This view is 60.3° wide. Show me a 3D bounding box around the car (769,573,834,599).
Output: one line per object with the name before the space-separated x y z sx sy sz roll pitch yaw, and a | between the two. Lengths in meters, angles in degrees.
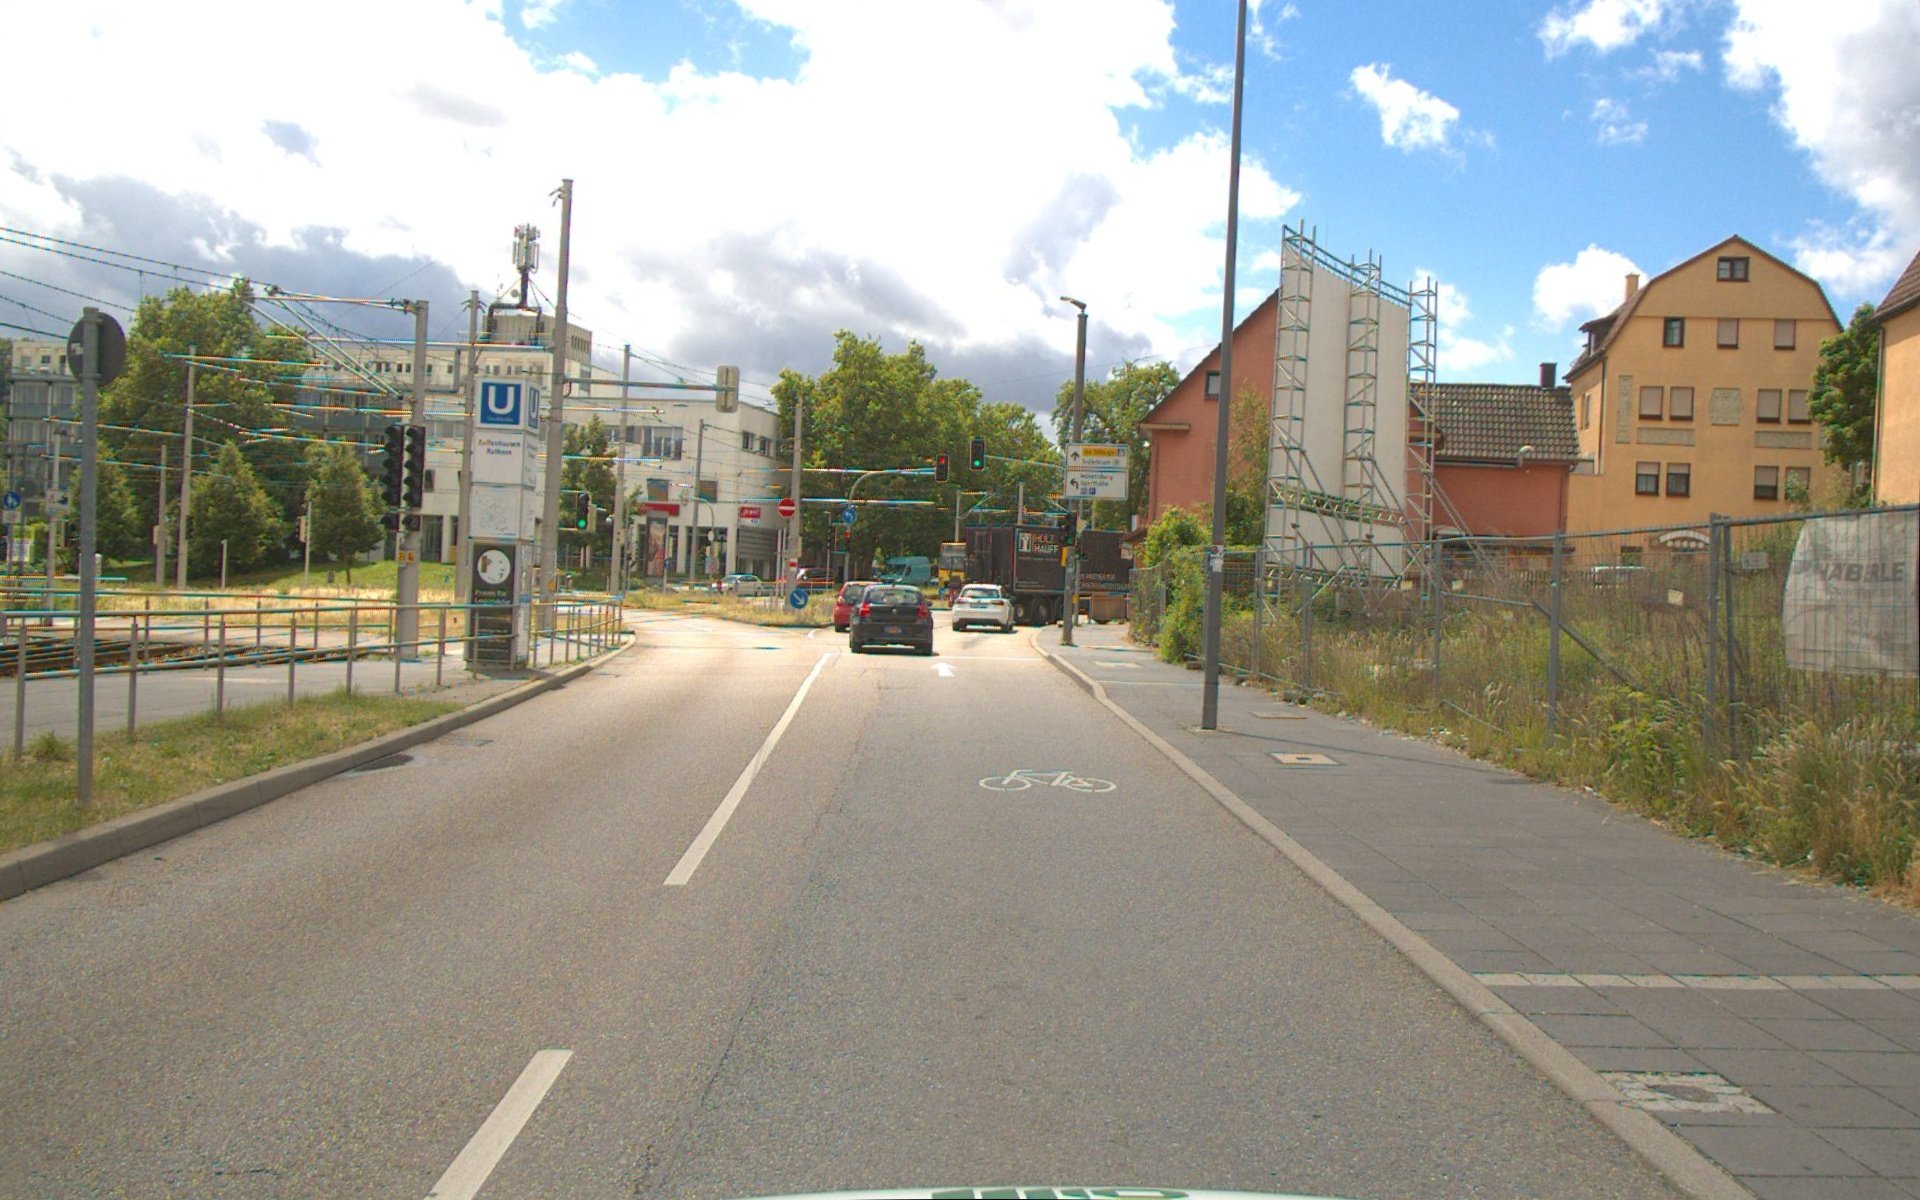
car | -10.480 -0.918 109.442 1.962 1.628 4.179 3 1 38

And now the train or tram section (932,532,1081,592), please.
train or tram section | 3.612 -2.549 117.099 2.645 3.815 18.336 3 1 27

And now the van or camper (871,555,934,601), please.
van or camper | -4.141 -1.576 120.455 2.131 2.854 6.066 3 -2 23

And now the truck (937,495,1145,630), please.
truck | 3.316 -1.371 64.886 3.155 4.614 8.978 3 -1 40

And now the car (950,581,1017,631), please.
car | 0.797 0.185 53.315 1.848 1.491 4.071 1 0 4

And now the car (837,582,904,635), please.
car | -2.575 0.210 48.414 1.676 1.417 3.809 2 1 1

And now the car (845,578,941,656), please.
car | -1.477 0.319 35.193 1.694 1.482 3.803 2 1 -8

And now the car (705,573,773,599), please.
car | -13.990 -0.895 104.619 1.963 1.489 3.980 3 0 39

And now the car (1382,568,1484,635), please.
car | 8.392 0.005 29.462 1.050 1.140 2.445 0 1 -2
